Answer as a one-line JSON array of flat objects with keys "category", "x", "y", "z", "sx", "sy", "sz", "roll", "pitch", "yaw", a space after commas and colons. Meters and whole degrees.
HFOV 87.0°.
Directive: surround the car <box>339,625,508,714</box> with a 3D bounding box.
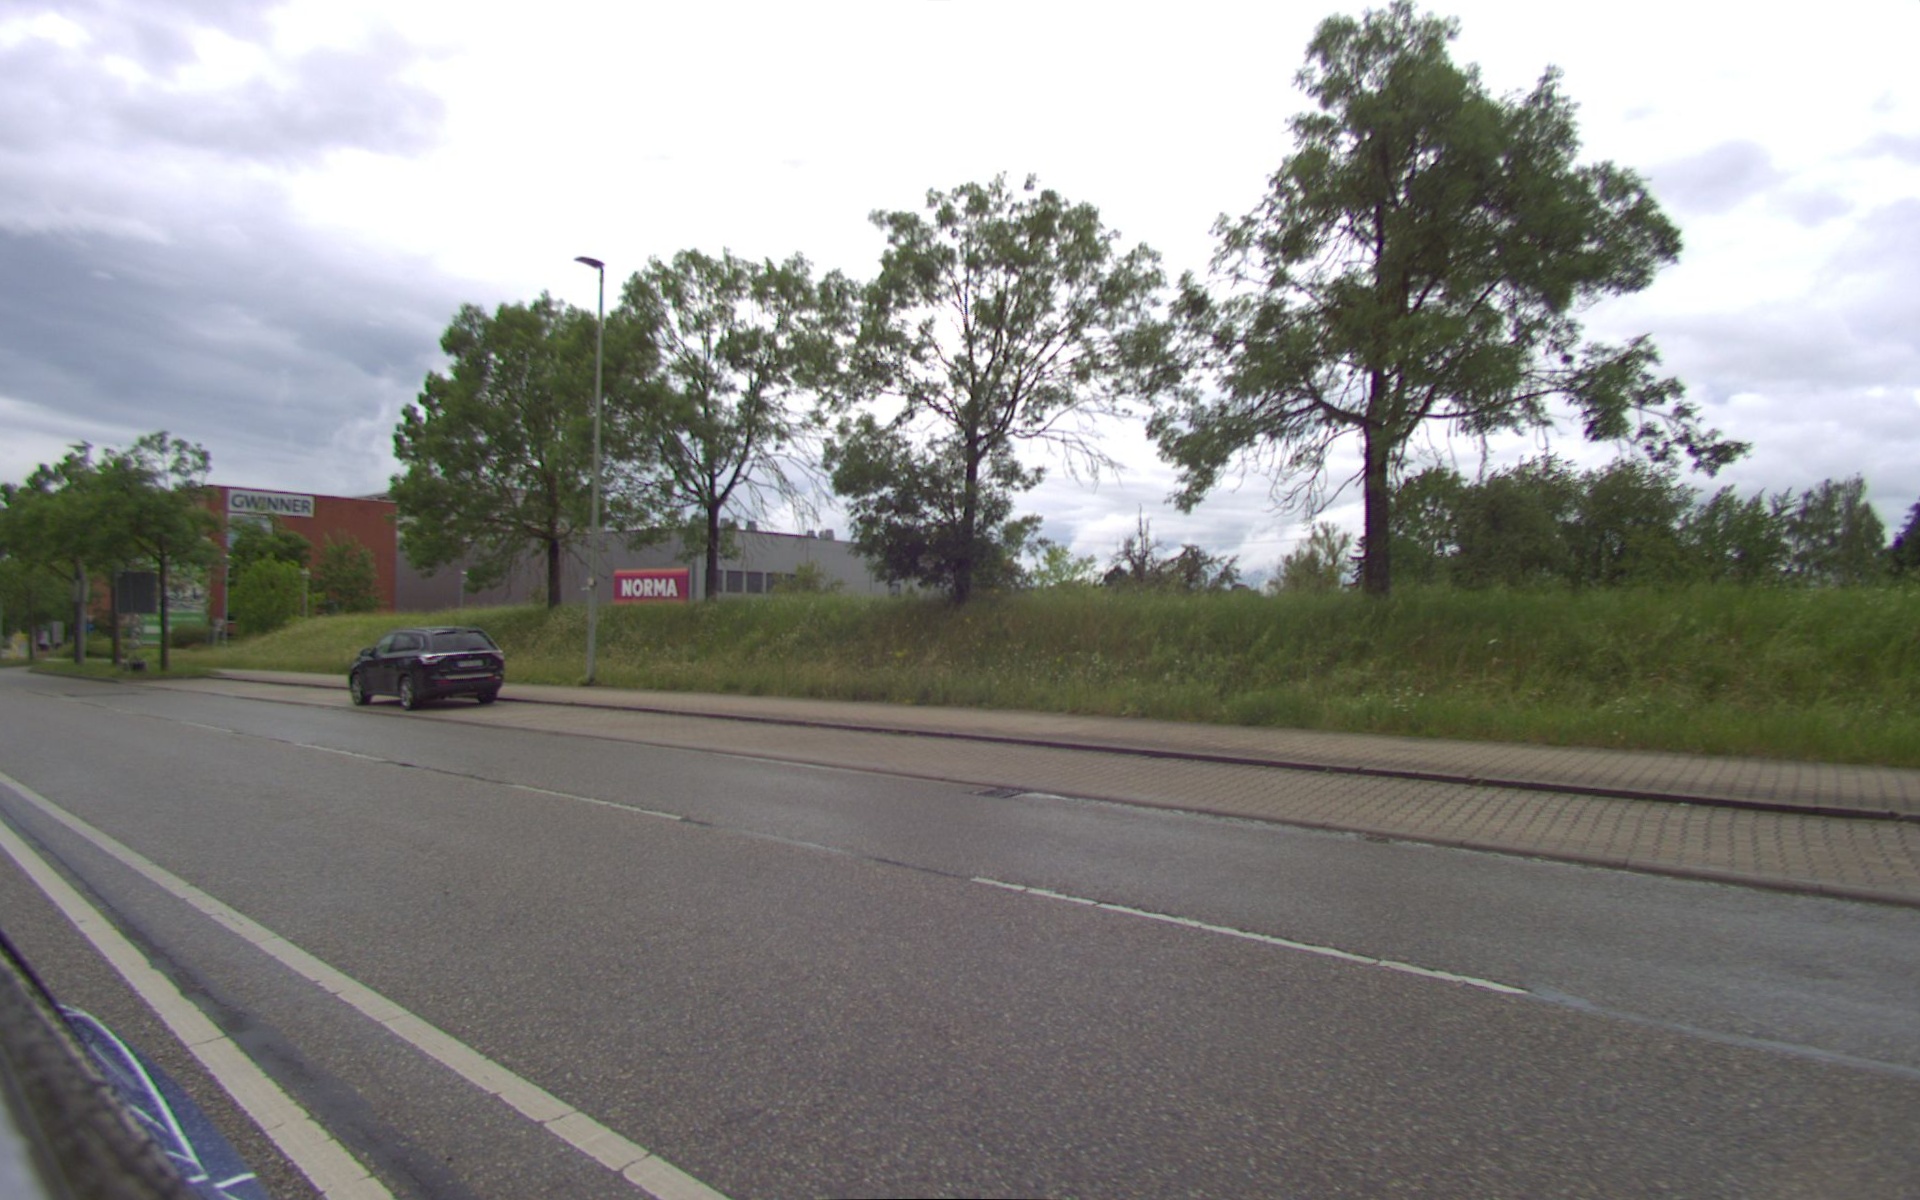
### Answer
[{"category": "car", "x": -11.609, "y": 1.426, "z": 21.783, "sx": 4.485, "sy": 1.681, "sz": 1.708, "roll": -2, "pitch": -1, "yaw": 41}]
